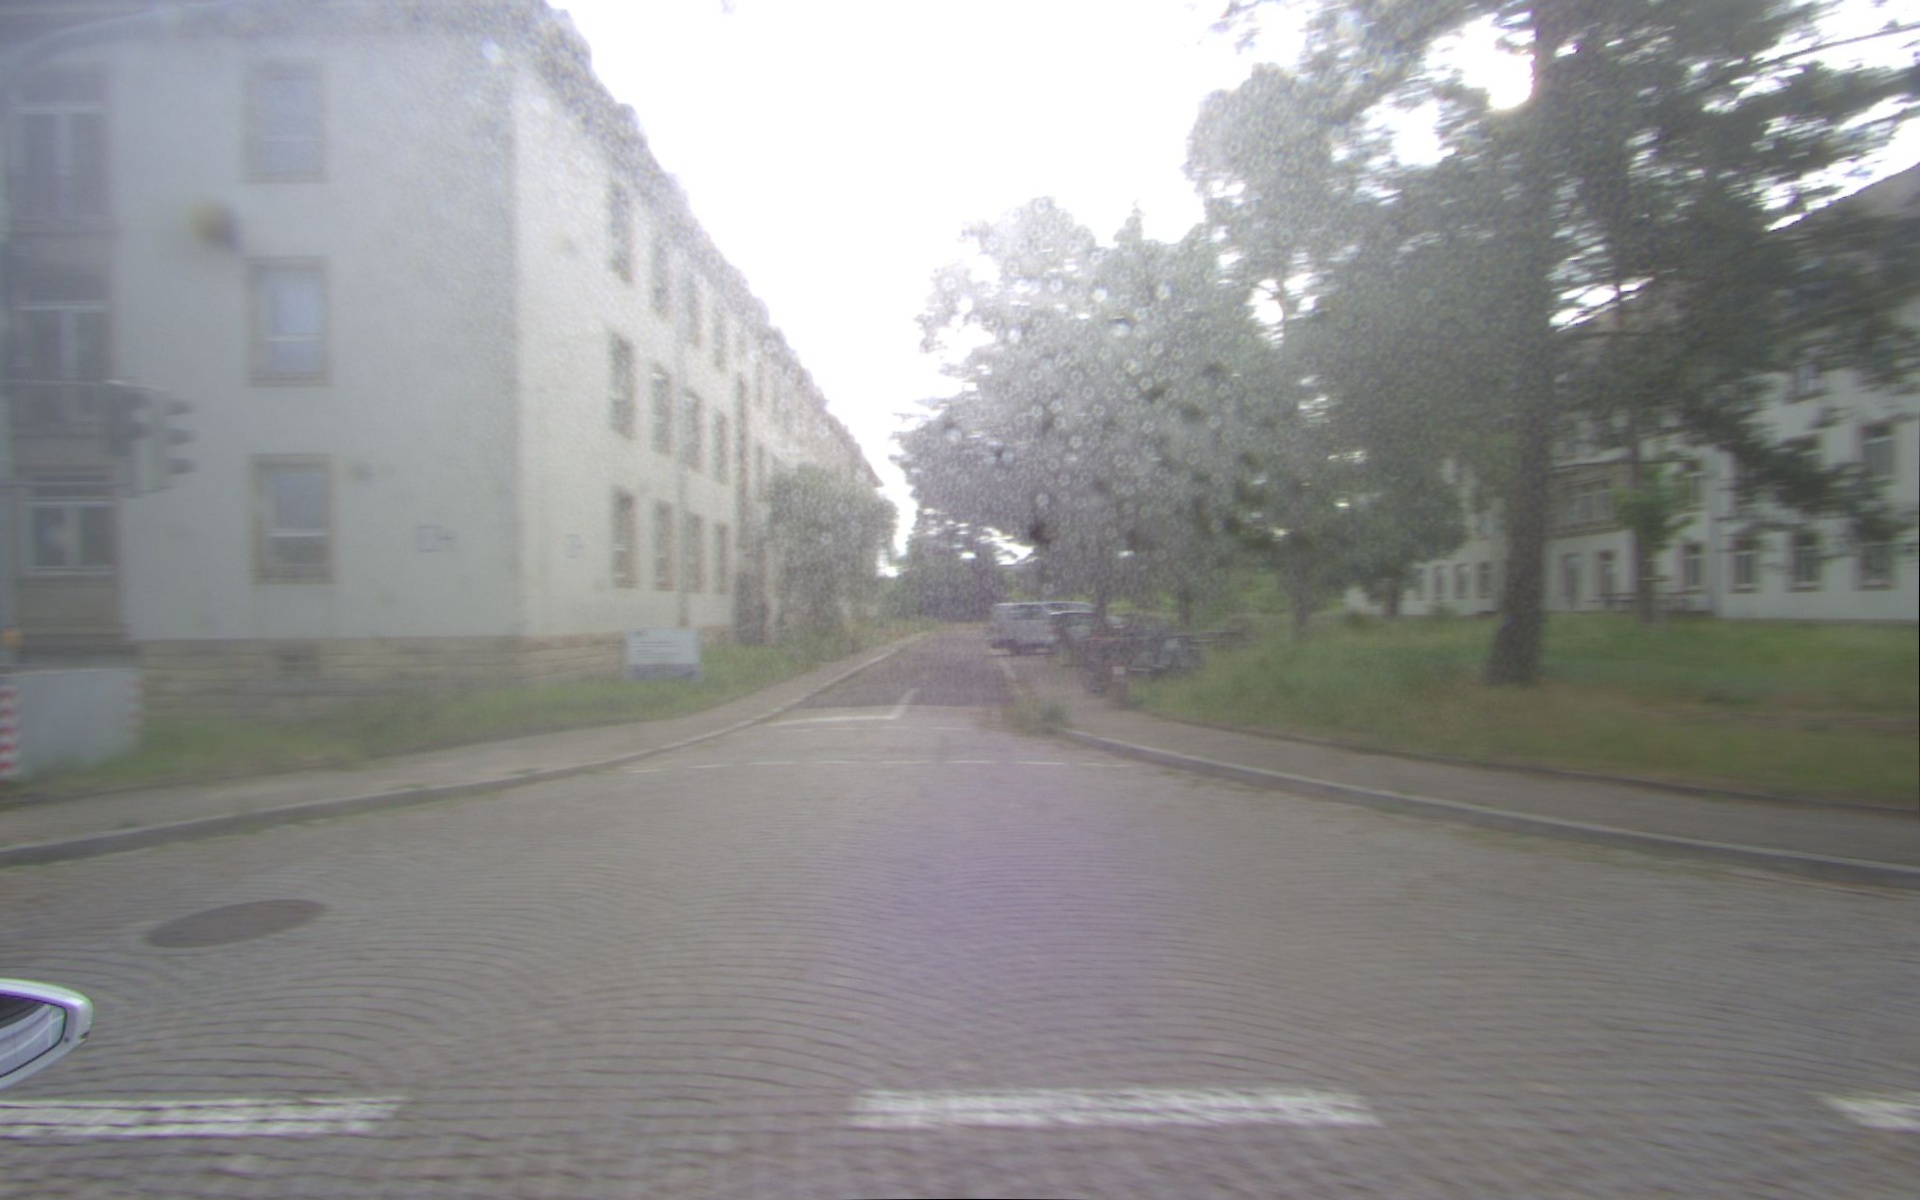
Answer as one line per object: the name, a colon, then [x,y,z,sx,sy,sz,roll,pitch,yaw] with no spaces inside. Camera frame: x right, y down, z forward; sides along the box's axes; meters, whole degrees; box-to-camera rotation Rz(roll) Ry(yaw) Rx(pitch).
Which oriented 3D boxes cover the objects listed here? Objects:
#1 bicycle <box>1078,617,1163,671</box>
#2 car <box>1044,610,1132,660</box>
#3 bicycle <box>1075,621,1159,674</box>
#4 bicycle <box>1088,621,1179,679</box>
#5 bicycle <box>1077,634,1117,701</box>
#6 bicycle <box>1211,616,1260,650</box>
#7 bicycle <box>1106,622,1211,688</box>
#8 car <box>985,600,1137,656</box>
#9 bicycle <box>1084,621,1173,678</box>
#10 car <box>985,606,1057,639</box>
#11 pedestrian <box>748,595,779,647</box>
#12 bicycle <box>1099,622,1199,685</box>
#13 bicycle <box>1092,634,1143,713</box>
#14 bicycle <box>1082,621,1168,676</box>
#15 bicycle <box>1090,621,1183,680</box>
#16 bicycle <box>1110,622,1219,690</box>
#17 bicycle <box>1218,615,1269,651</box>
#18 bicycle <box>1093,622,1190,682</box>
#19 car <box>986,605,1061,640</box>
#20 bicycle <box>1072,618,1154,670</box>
bicycle: [3.902,1.065,24.384,1.950,1.264,0.624,1,0,-1]
car: [4.298,1.168,33.838,2.801,1.579,1.471,-1,1,1]
bicycle: [3.887,1.169,24.879,1.950,1.264,0.624,1,0,-1]
bicycle: [3.934,1.132,22.792,1.950,1.264,0.624,1,0,-1]
bicycle: [2.417,1.172,17.830,0.612,1.096,1.678,1,-1,5]
bicycle: [9.322,1.098,33.895,1.524,1.139,0.401,0,0,3]
bicycle: [3.916,1.080,19.847,1.950,1.264,0.624,1,0,-1]
car: [3.719,1.010,37.326,5.224,1.941,2.147,-1,0,-14]
bicycle: [3.889,1.139,23.170,1.950,1.264,0.624,1,0,-1]
car: [3.439,1.267,56.878,3.966,1.823,1.681,0,0,0]
pedestrian: [-6.941,0.734,35.374,0.824,1.804,0.941,0,0,6]
bicycle: [3.905,1.097,20.774,1.950,1.264,0.624,1,0,-1]
bicycle: [2.475,1.122,15.874,0.612,1.128,1.989,1,-1,4]
bicycle: [3.921,1.151,23.871,1.950,1.264,0.624,1,0,-1]
bicycle: [3.916,1.123,22.267,1.950,1.264,0.624,1,0,-1]
bicycle: [3.913,1.069,19.218,1.950,1.264,0.624,1,0,-1]
bicycle: [9.241,1.078,32.665,1.524,1.139,0.401,0,0,3]
bicycle: [3.908,1.112,21.634,1.950,1.264,0.624,1,0,-1]
car: [3.402,1.222,54.359,3.966,1.823,1.681,0,0,0]
bicycle: [3.889,1.116,25.538,1.950,1.264,0.624,-2,0,-1]
